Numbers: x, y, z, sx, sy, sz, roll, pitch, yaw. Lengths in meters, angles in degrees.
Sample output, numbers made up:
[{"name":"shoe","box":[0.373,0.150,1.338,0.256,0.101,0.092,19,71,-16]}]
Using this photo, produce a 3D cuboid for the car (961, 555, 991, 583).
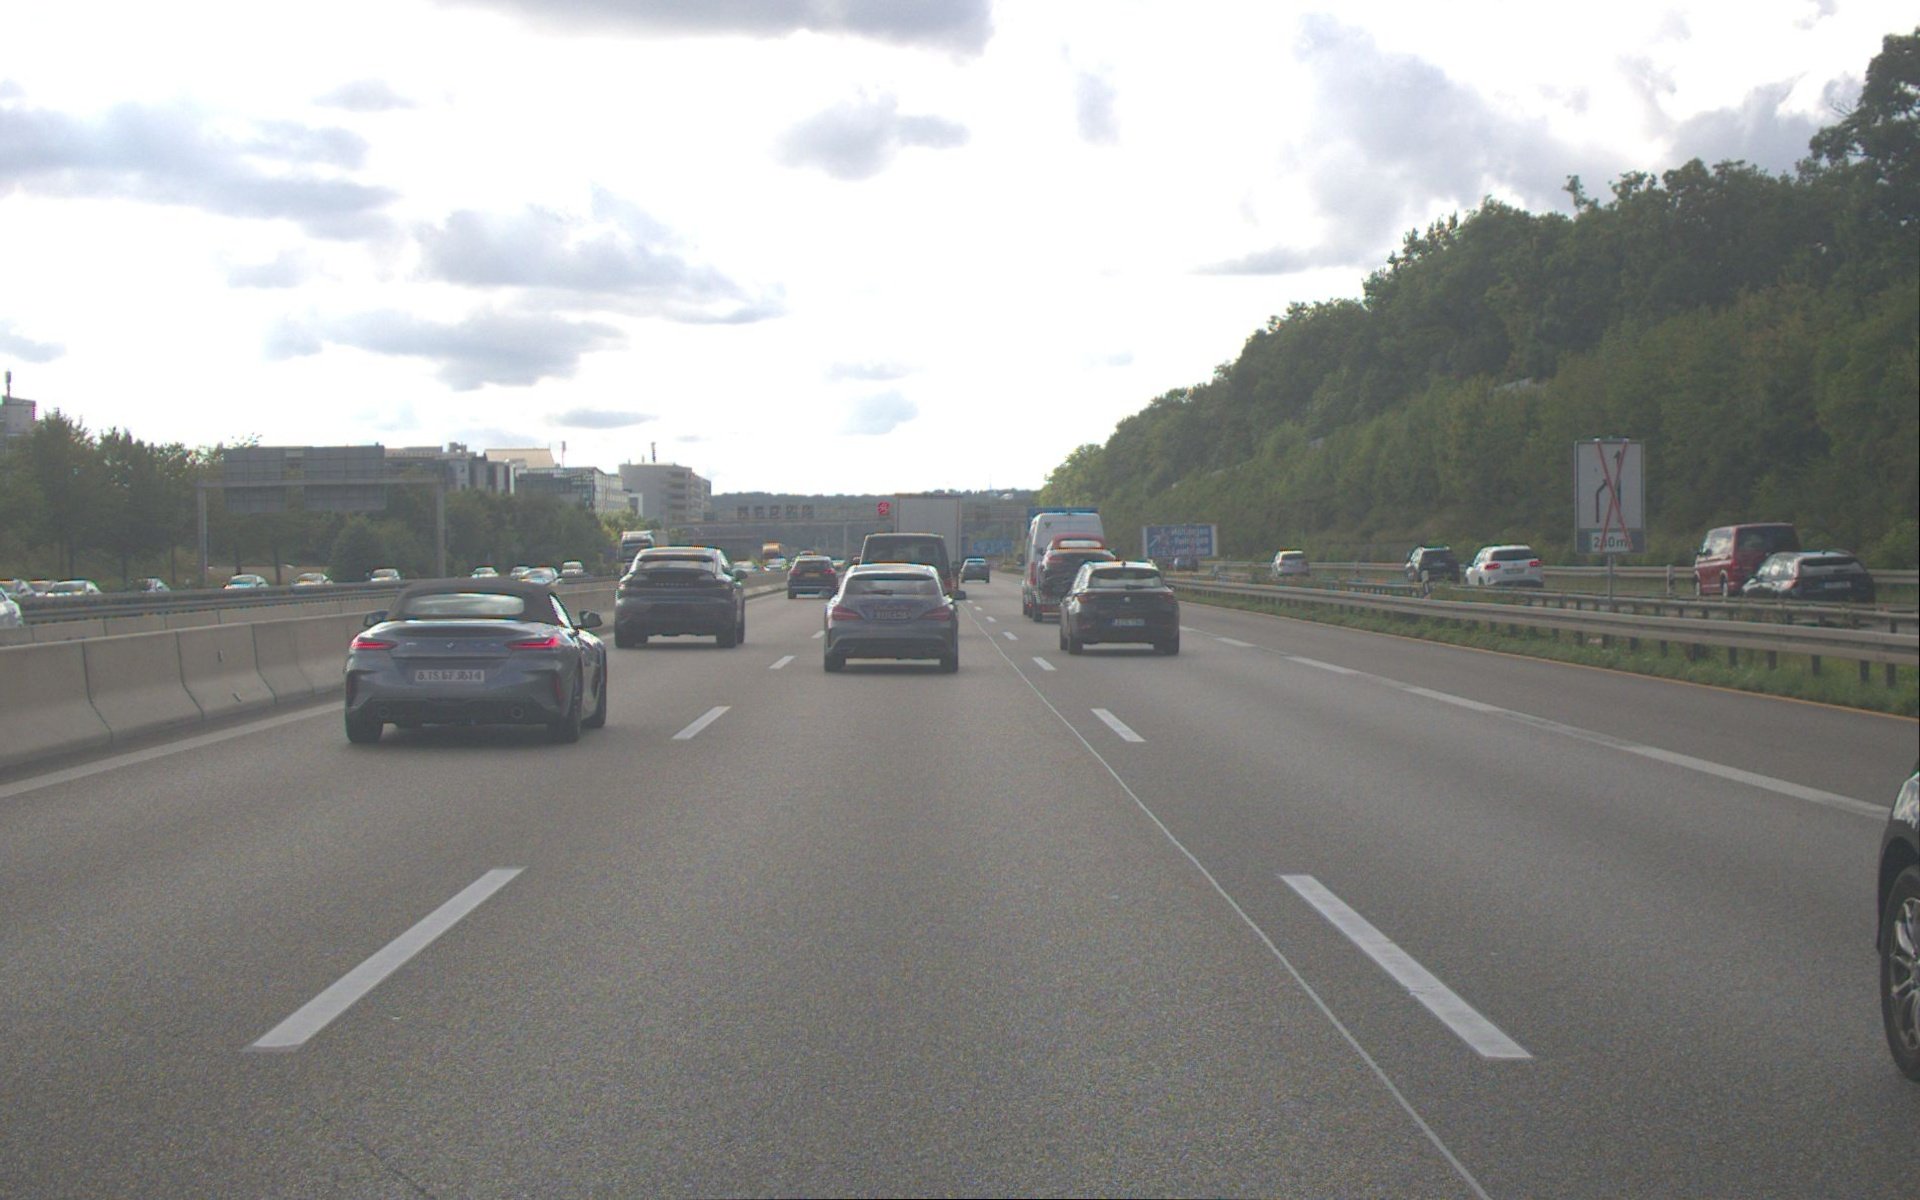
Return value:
[{"name":"car","box":[0.972,-1.917,212.859,1.752,1.689,4.190,0,1,-1]}]

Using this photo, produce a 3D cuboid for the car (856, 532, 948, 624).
[{"name":"car","box":[-1.107,-0.447,66.253,1.720,1.718,4.392,0,1,-1]}]

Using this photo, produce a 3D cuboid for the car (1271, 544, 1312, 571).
[{"name":"car","box":[18.440,-2.360,191.186,1.752,1.512,4.190,0,1,-2]}]

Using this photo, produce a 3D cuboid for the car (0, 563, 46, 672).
[{"name":"car","box":[-14.369,0.252,48.407,1.763,1.527,4.717,0,1,0]}]

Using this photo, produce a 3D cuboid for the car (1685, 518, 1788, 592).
[{"name":"car","box":[19.364,-1.127,85.859,1.595,1.798,3.825,0,1,-2]}]

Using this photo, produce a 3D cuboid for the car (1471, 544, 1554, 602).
[{"name":"car","box":[16.496,-0.817,102.737,1.752,1.689,4.190,0,1,-1]}]

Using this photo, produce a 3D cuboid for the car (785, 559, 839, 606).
[{"name":"car","box":[-5.505,-0.666,128.145,1.873,1.692,4.072,0,1,-1]}]

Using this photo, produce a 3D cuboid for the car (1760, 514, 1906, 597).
[{"name":"car","box":[16.695,-0.855,65.902,1.595,1.540,4.191,0,1,-2]}]

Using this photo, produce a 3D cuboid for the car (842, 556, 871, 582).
[{"name":"car","box":[-7.474,-2.249,248.818,1.993,1.809,4.567,0,1,-1]}]

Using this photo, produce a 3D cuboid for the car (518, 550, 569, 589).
[{"name":"car","box":[-18.120,-1.335,149.721,1.779,1.640,4.072,0,1,-1]}]

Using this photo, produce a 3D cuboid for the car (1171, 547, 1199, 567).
[{"name":"car","box":[16.915,-3.225,258.633,1.752,1.512,4.190,0,1,-2]}]

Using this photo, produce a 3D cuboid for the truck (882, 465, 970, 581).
[{"name":"truck","box":[-1.355,-2.997,135.506,3.263,4.360,11.027,1,1,-1]}]

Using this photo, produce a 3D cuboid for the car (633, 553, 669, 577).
[{"name":"car","box":[-22.663,-2.568,252.290,2.306,1.771,5.065,0,1,-2]}]

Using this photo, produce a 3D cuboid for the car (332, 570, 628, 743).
[{"name":"car","box":[-3.958,0.414,29.085,1.873,1.298,4.943,0,1,-1]}]

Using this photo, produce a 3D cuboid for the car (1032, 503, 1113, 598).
[{"name":"car","box":[2.853,-1.266,87.848,1.873,2.349,4.282,0,1,-1]}]

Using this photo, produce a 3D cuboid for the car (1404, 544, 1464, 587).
[{"name":"car","box":[18.920,-1.379,137.352,1.752,1.689,4.190,0,1,-1]}]

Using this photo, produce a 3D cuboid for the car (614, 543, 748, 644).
[{"name":"car","box":[-4.704,-0.152,58.611,1.912,1.630,5.500,0,1,-1]}]

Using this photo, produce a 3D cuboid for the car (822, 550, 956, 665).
[{"name":"car","box":[-0.936,0.063,46.243,1.720,1.474,4.392,0,1,-1]}]

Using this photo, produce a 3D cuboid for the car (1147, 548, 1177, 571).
[{"name":"car","box":[13.967,-2.805,238.043,1.729,1.528,4.453,-1,1,-1]}]

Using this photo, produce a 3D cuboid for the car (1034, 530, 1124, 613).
[{"name":"car","box":[2.764,-0.686,80.689,1.913,1.912,4.030,0,1,-1]}]

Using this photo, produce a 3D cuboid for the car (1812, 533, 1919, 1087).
[{"name":"car","box":[3.569,0.604,8.759,1.697,1.559,4.114,0,1,-1]}]

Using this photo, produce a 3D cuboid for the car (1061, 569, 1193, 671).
[{"name":"car","box":[2.618,0.290,54.636,1.832,1.516,4.225,0,1,-1]}]
